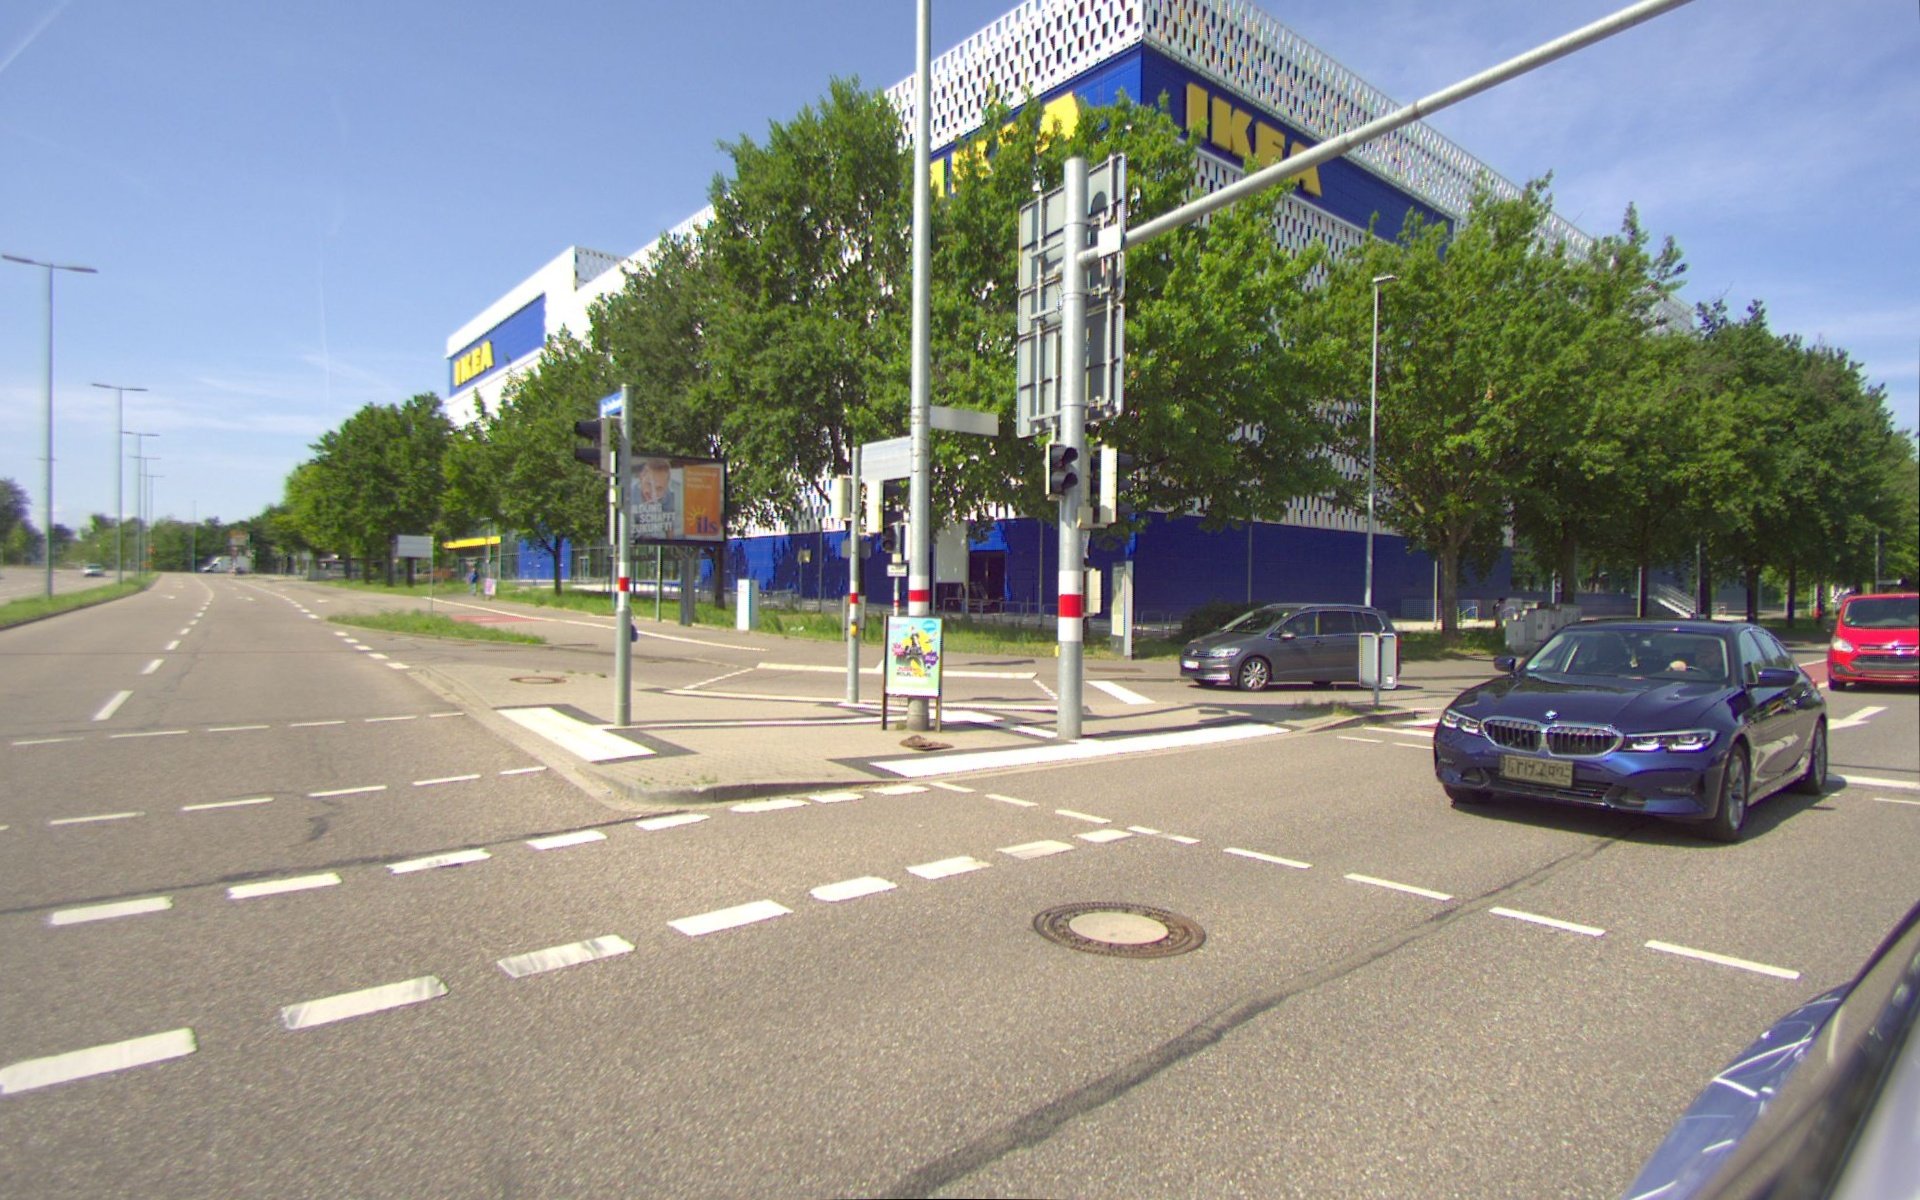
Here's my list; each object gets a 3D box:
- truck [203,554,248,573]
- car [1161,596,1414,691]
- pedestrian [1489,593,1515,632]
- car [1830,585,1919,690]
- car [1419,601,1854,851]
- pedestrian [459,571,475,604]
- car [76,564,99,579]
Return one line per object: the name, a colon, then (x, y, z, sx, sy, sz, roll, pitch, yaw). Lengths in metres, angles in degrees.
truck: (-122.567, -6.092, 168.908, 5.873, 3.067, 1.996, -1, -1, -41)
car: (6.316, 0.772, 19.653, 4.298, 1.676, 2.004, 0, 1, -17)
pedestrian: (22.432, 0.501, 41.886, 0.767, 1.565, 0.680, 0, 0, -40)
car: (19.309, 0.701, 20.405, 4.726, 1.932, 2.012, 0, -1, -41)
car: (5.555, 0.778, 8.056, 4.459, 1.447, 1.798, 1, -2, -41)
pedestrian: (-30.682, -0.760, 62.934, 0.597, 2.039, 0.673, -3, -2, 36)
car: (-101.125, -3.324, 117.345, 1.850, 1.704, 3.998, 0, 3, -38)
